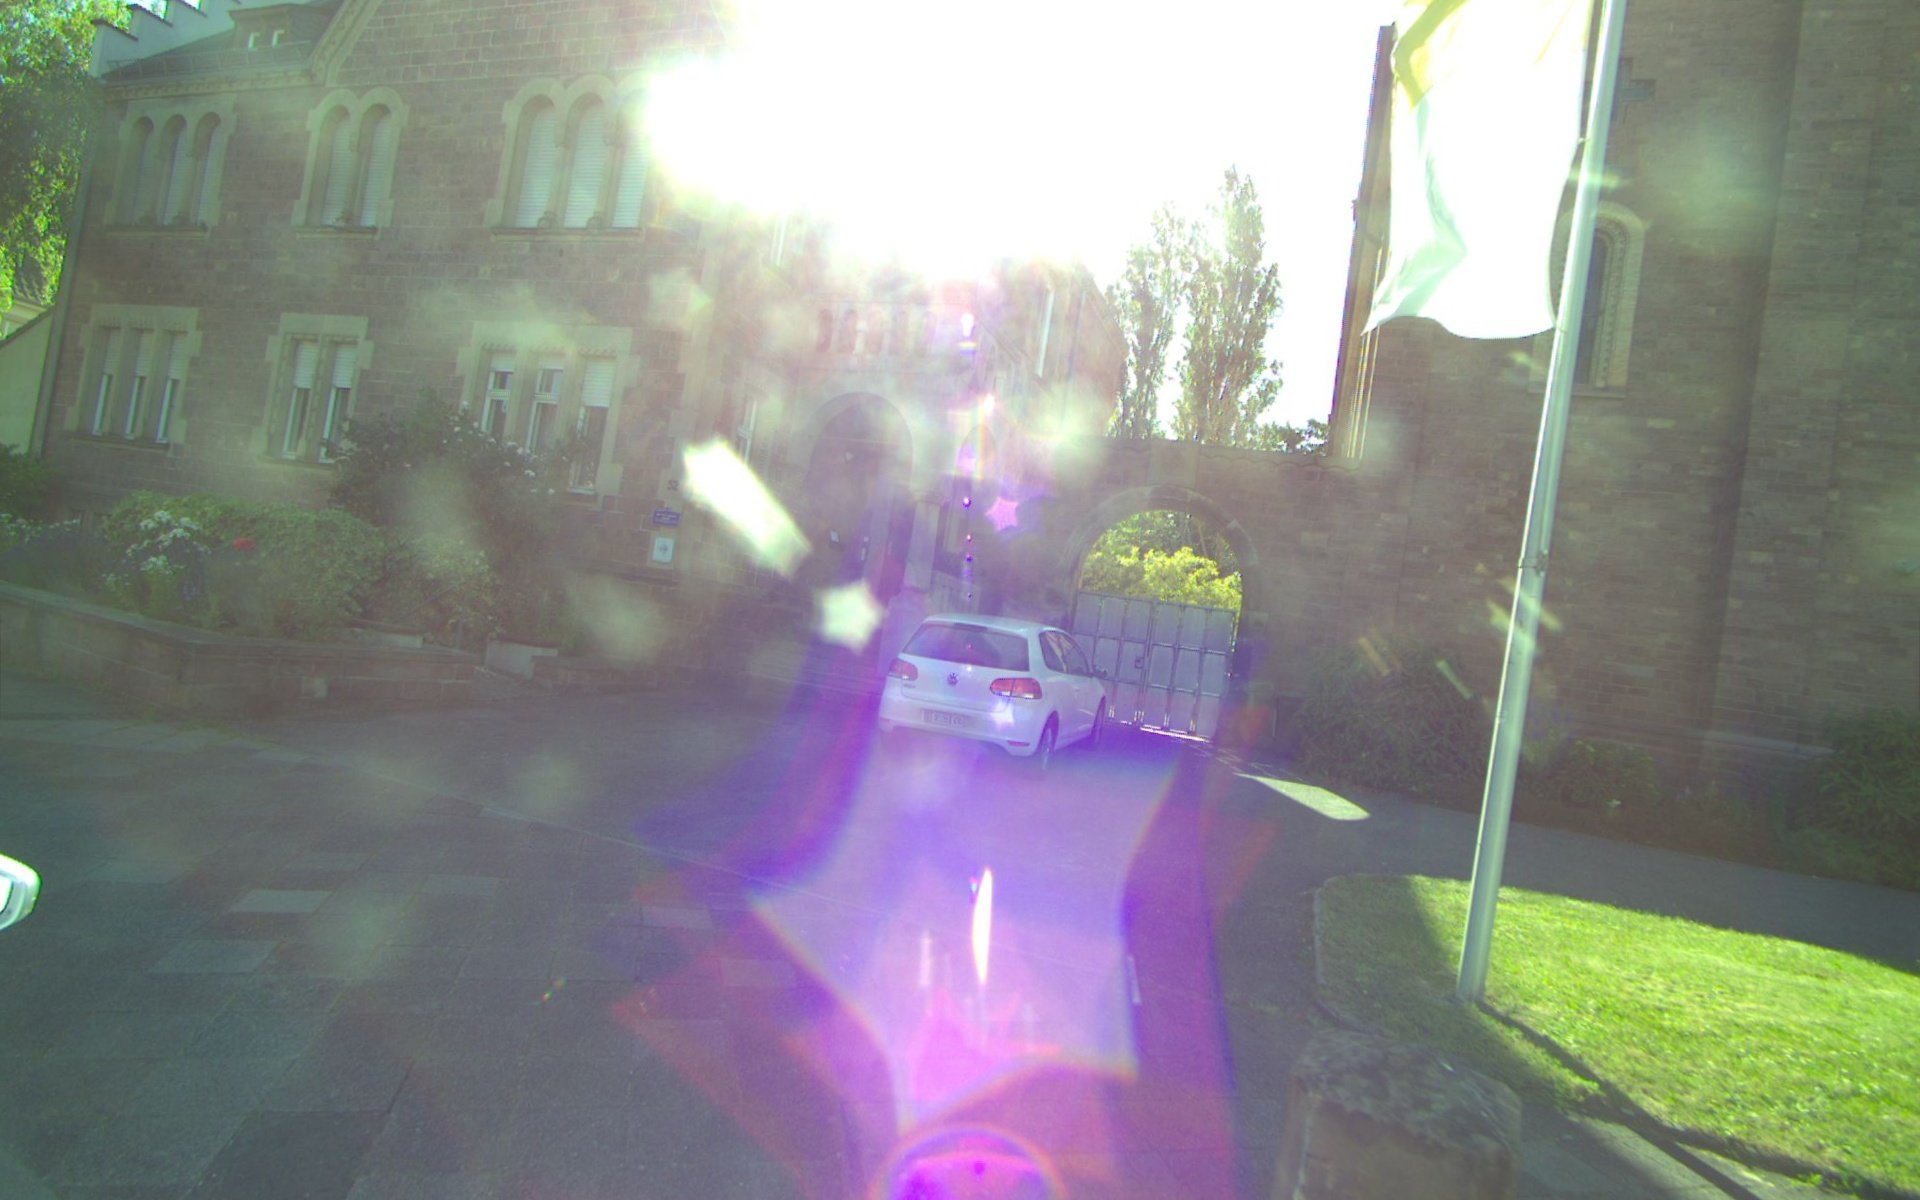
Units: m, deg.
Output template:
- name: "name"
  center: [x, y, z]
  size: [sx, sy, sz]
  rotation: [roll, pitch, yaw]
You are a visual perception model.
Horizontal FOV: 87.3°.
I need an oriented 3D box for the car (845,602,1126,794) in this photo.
- name: "car"
  center: [0.493, 0.945, 11.092]
  size: [1.869, 1.515, 3.909]
  rotation: [6, 0, 19]
